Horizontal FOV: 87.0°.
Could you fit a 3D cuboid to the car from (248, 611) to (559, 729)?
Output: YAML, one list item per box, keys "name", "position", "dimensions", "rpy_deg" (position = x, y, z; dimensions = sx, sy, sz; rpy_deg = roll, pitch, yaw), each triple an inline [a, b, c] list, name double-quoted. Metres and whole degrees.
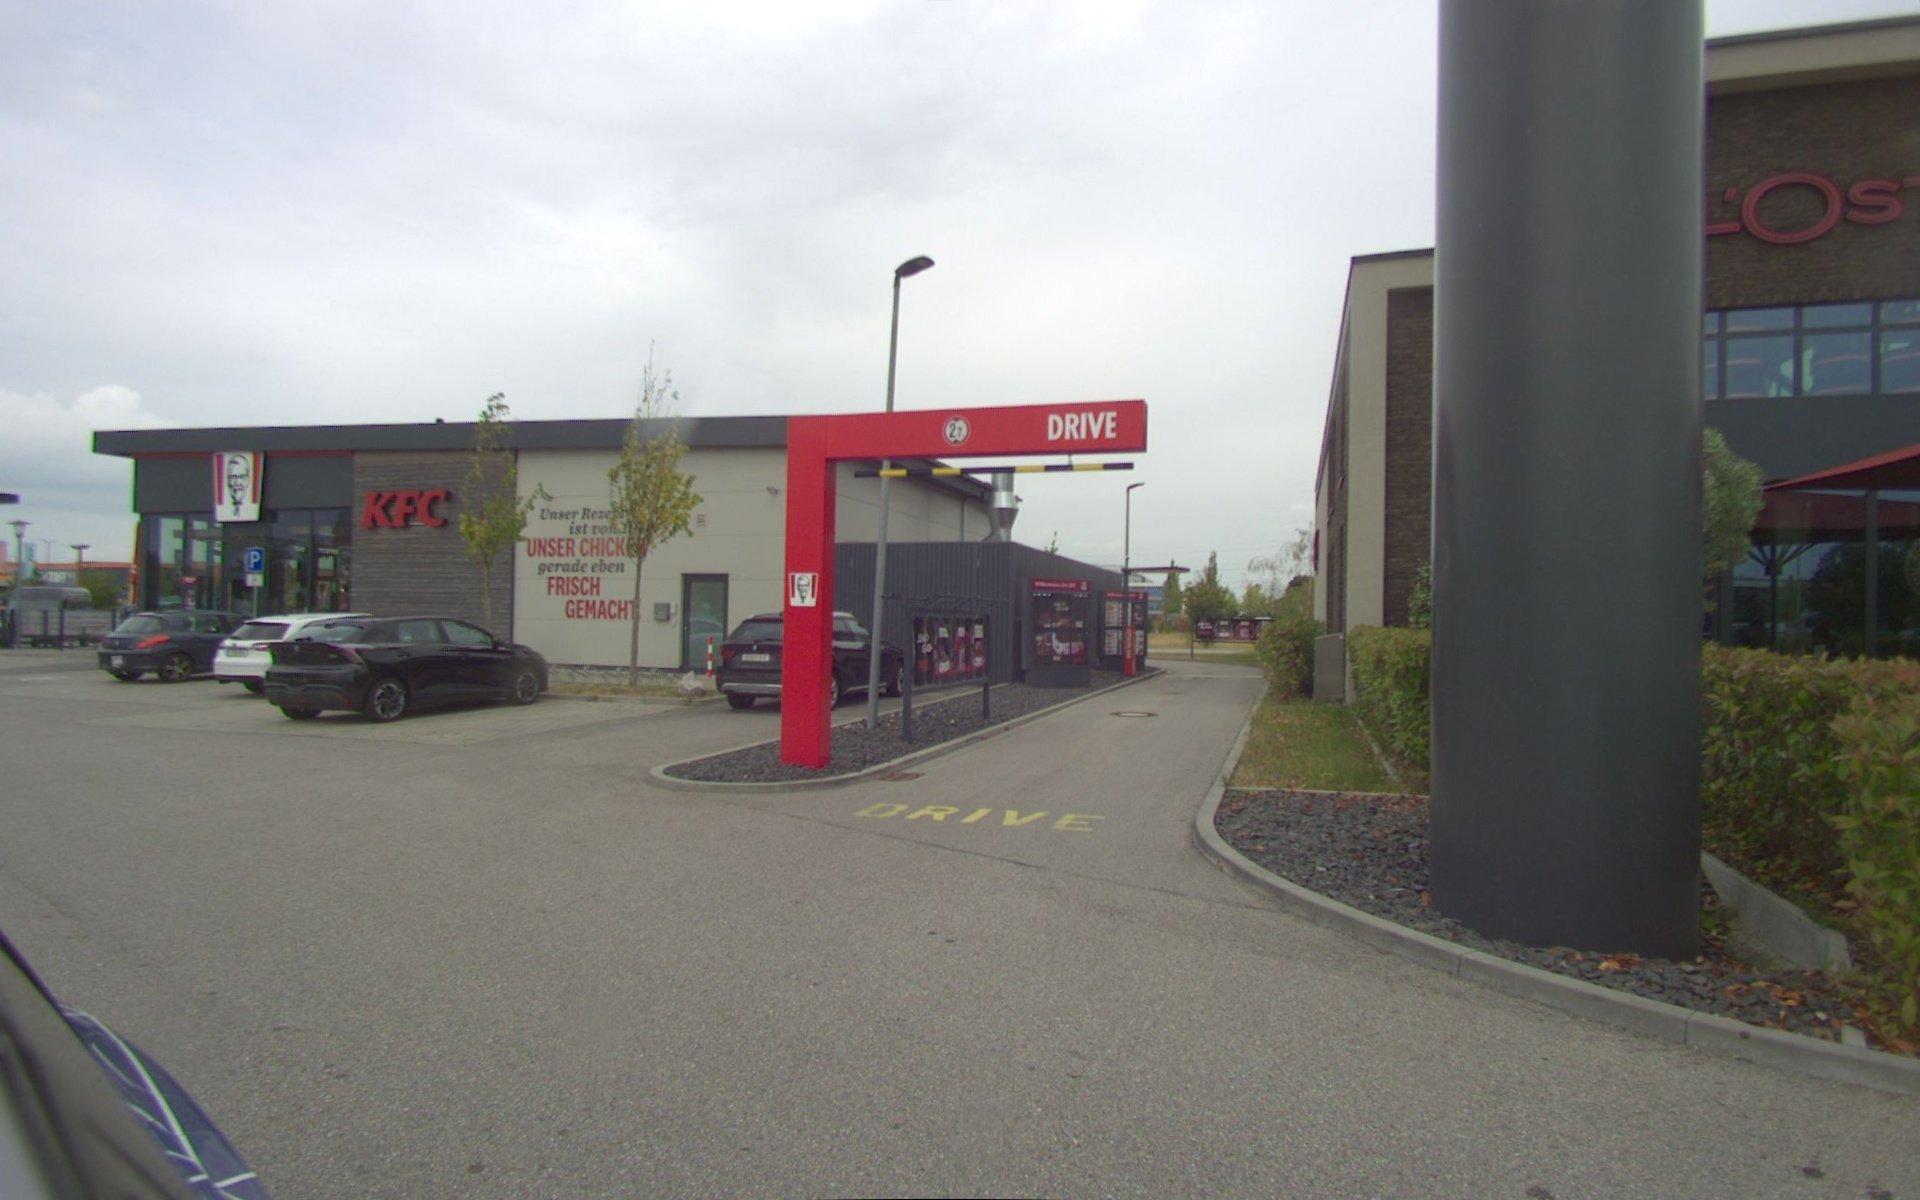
- name: "car"
  position: [-8.296, 0.969, 15.550]
  dimensions: [1.728, 1.540, 4.097]
  rpy_deg: [0, -1, 19]

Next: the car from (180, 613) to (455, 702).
- name: "car"
  position: [-12.177, 1.028, 19.530]
  dimensions: [1.985, 1.497, 4.152]
  rpy_deg: [0, -1, 20]

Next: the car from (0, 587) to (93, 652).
- name: "car"
  position: [-39.323, 0.882, 43.447]
  dimensions: [2.038, 2.573, 7.033]
  rpy_deg: [0, -2, -31]

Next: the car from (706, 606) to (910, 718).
- name: "car"
  position: [-2.371, 0.931, 16.859]
  dimensions: [1.723, 1.608, 3.974]
  rpy_deg: [0, -1, 19]

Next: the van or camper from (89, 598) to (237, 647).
- name: "van or camper"
  position: [-46.341, 1.279, 59.048]
  dimensions: [6.459, 2.721, 2.179]
  rpy_deg: [0, -2, -23]

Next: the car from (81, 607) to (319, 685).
- name: "car"
  position: [-16.594, 0.934, 22.342]
  dimensions: [1.745, 1.498, 3.914]
  rpy_deg: [-1, 0, 20]
